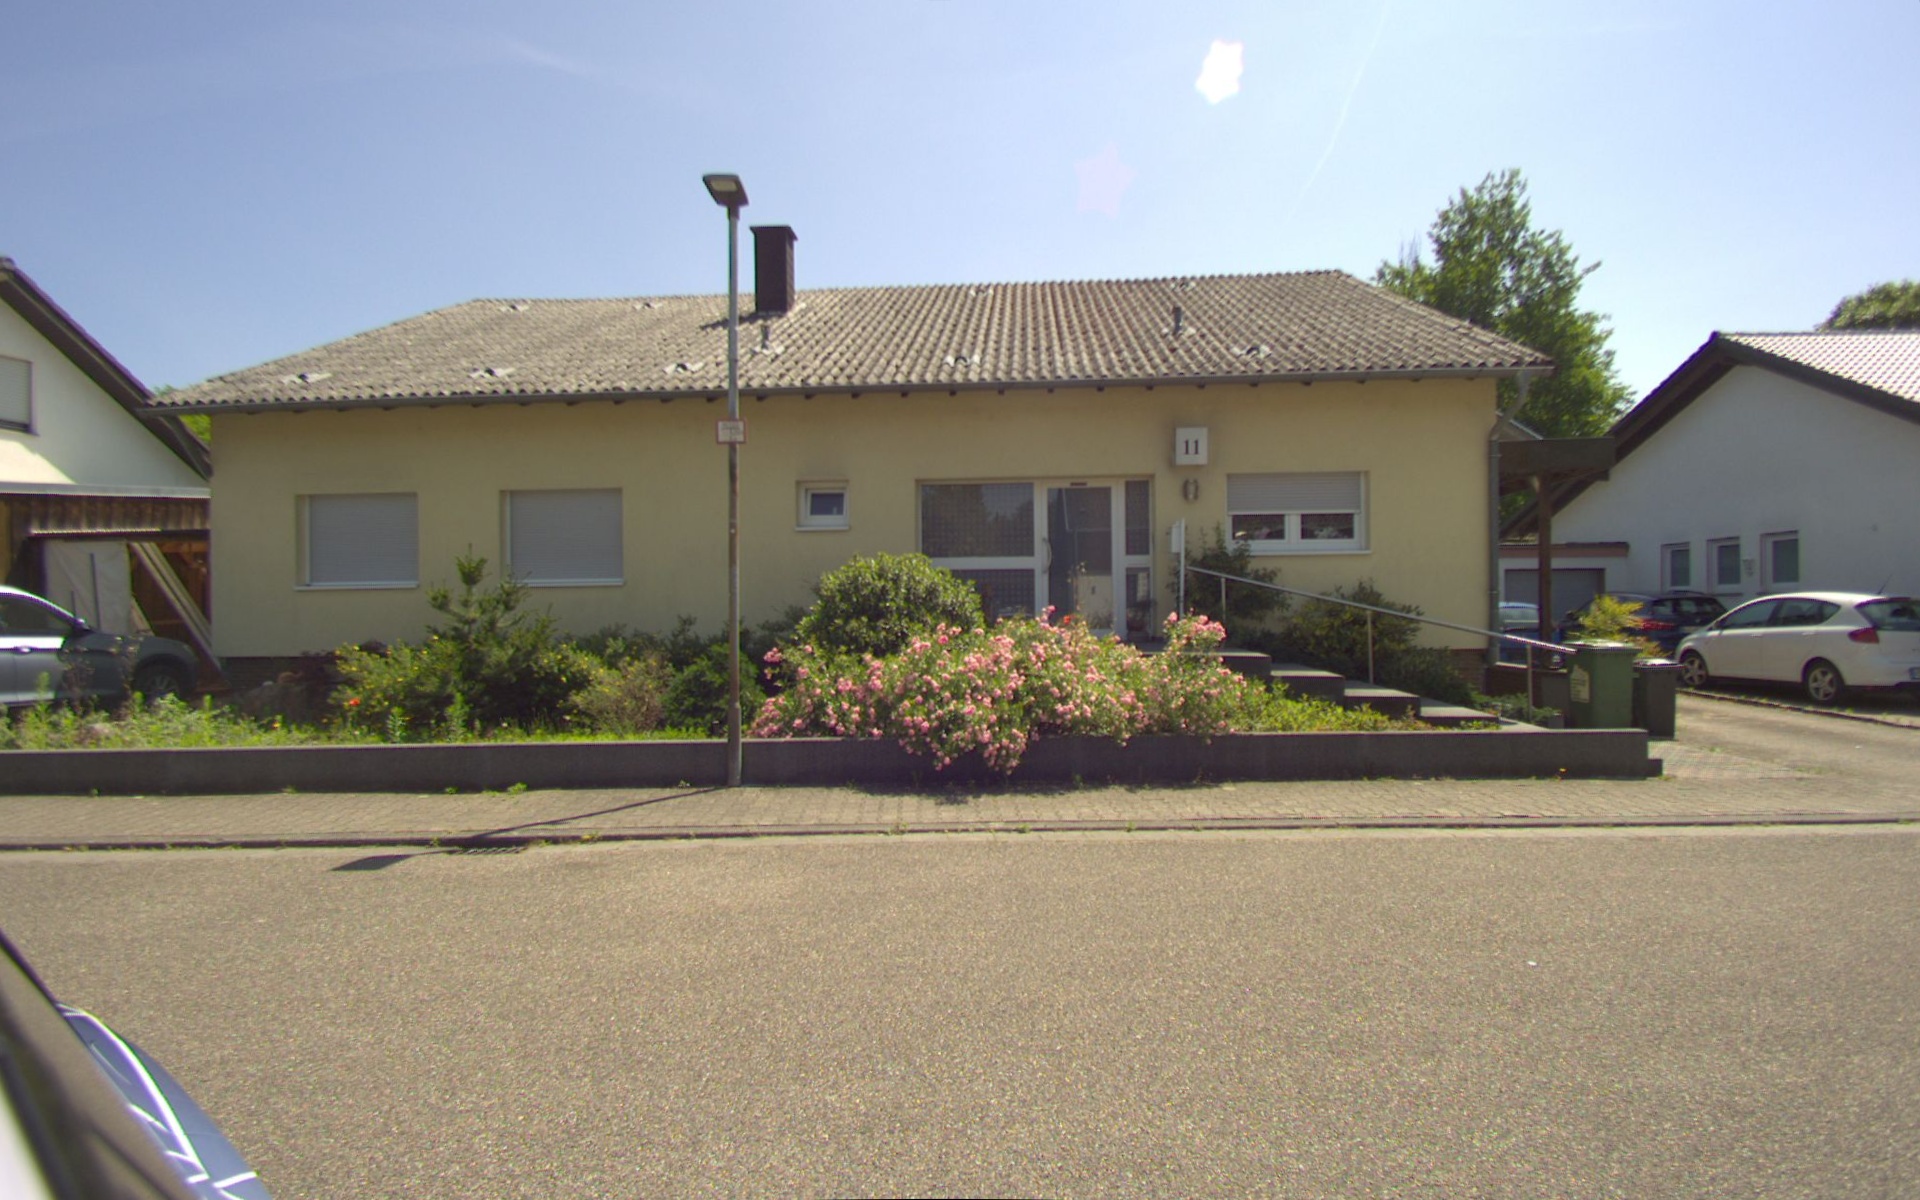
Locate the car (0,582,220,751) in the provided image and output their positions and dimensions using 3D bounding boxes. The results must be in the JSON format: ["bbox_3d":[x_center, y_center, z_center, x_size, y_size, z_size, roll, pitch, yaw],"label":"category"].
[{"bbox_3d":[-10.543,0.680,10.694,1.689,1.715,4.633,-1,1,7],"label":"car"}]

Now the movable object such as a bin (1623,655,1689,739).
[{"bbox_3d":[7.792,1.073,11.336,0.402,0.898,0.426,-1,-1,-4],"label":"movable object such as a bin"}]

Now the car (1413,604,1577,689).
[{"bbox_3d":[10.204,0.832,19.565,1.599,1.466,3.250,0,0,4],"label":"car"}]

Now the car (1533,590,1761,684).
[{"bbox_3d":[13.193,0.661,19.777,1.904,1.620,3.994,-1,0,4],"label":"car"}]

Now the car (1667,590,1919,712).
[{"bbox_3d":[12.815,0.678,15.104,1.728,1.580,3.998,-1,-1,1],"label":"car"}]

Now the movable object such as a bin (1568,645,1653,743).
[{"bbox_3d":[7.282,1.042,11.342,0.584,1.049,0.492,-1,-1,-3],"label":"movable object such as a bin"}]
